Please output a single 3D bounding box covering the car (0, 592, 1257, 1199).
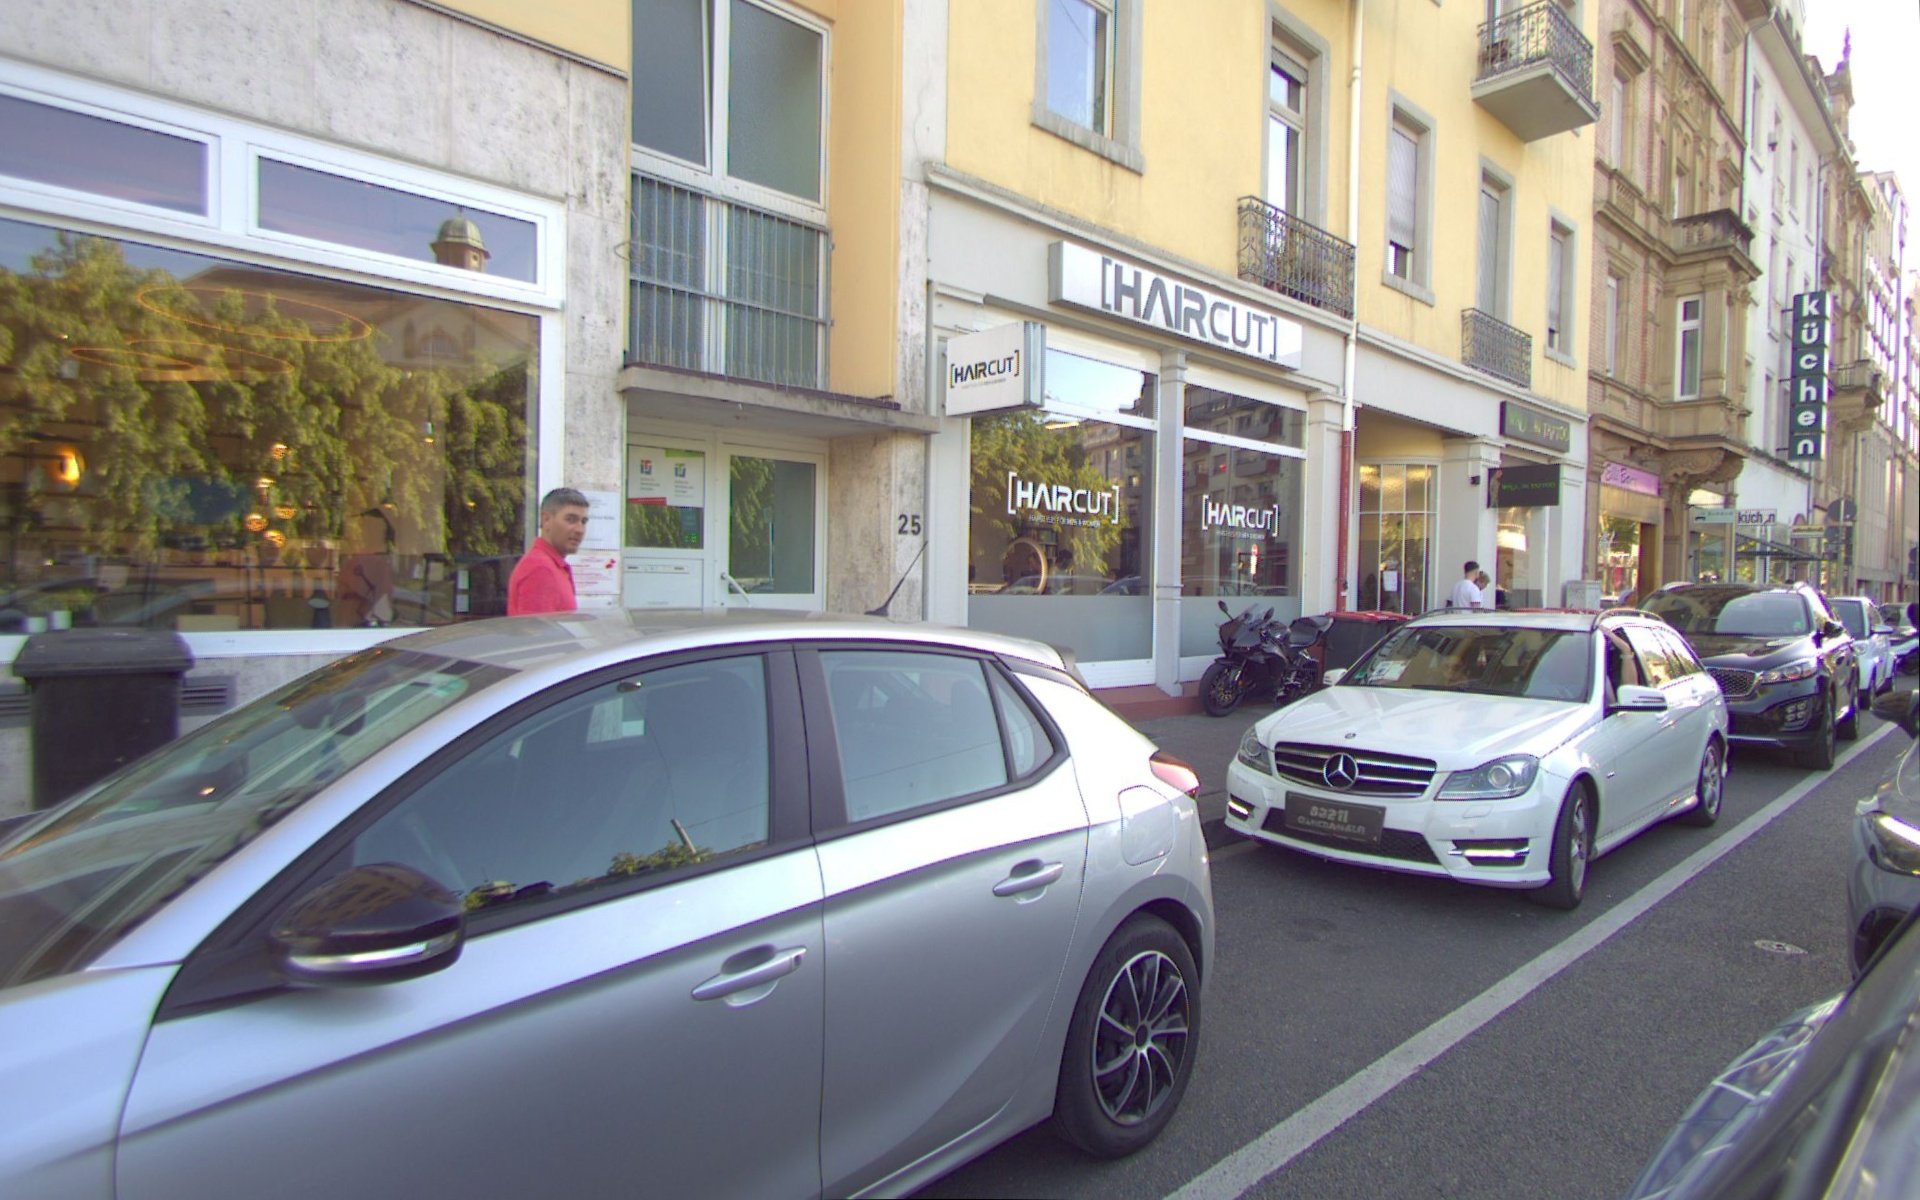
[{"bbox_3d":[-1.043,0.700,2.311,3.642,1.415,1.652,0,1,-42],"label":"car"}]

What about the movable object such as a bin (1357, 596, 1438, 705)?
[{"bbox_3d":[5.135,0.566,11.882,0.633,1.222,0.647,0,0,-40],"label":"movable object such as a bin"}]

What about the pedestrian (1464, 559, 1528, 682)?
[{"bbox_3d":[7.366,0.266,13.901,0.631,1.637,0.572,0,0,-40],"label":"pedestrian"}]

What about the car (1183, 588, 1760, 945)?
[{"bbox_3d":[3.484,0.679,6.409,4.519,1.480,1.757,0,1,-42],"label":"car"}]

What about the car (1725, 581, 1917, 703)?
[{"bbox_3d":[12.636,0.531,14.820,2.965,1.587,1.695,0,1,-40],"label":"car"}]

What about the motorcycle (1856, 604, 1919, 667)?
[{"bbox_3d":[19.276,0.711,20.512,1.514,1.248,0.771,1,0,1],"label":"motorcycle"}]

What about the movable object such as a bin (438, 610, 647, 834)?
[{"bbox_3d":[-2.294,0.608,5.558,0.878,1.066,0.752,0,1,-40],"label":"movable object such as a bin"}]

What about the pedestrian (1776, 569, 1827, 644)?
[{"bbox_3d":[18.869,0.129,22.694,0.750,1.637,0.794,0,0,-43],"label":"pedestrian"}]

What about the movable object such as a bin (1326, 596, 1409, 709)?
[{"bbox_3d":[4.625,0.573,11.493,0.633,1.222,0.647,0,0,-40],"label":"movable object such as a bin"}]

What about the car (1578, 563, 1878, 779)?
[{"bbox_3d":[7.989,0.535,10.334,1.853,1.719,4.623,1,1,45],"label":"car"}]

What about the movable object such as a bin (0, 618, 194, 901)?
[{"bbox_3d":[-3.700,0.617,4.366,0.591,1.041,0.812,0,1,-40],"label":"movable object such as a bin"}]

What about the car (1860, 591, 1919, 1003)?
[{"bbox_3d":[5.308,0.665,4.265,4.183,1.396,1.846,0,1,-42],"label":"car"}]

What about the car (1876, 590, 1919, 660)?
[{"bbox_3d":[22.241,0.543,23.007,3.931,1.504,1.713,0,1,-42],"label":"car"}]

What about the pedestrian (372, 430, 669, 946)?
[{"bbox_3d":[-1.828,0.288,4.161,0.989,1.805,0.868,0,3,-32],"label":"pedestrian"}]

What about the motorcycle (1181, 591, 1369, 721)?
[{"bbox_3d":[3.310,0.524,10.519,2.208,1.179,0.773,0,4,-41],"label":"motorcycle"}]

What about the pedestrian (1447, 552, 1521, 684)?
[{"bbox_3d":[6.736,0.213,13.013,0.689,1.637,0.641,0,0,-42],"label":"pedestrian"}]

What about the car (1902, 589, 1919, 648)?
[{"bbox_3d":[26.388,0.485,26.855,3.931,1.504,1.713,0,1,-42],"label":"car"}]
